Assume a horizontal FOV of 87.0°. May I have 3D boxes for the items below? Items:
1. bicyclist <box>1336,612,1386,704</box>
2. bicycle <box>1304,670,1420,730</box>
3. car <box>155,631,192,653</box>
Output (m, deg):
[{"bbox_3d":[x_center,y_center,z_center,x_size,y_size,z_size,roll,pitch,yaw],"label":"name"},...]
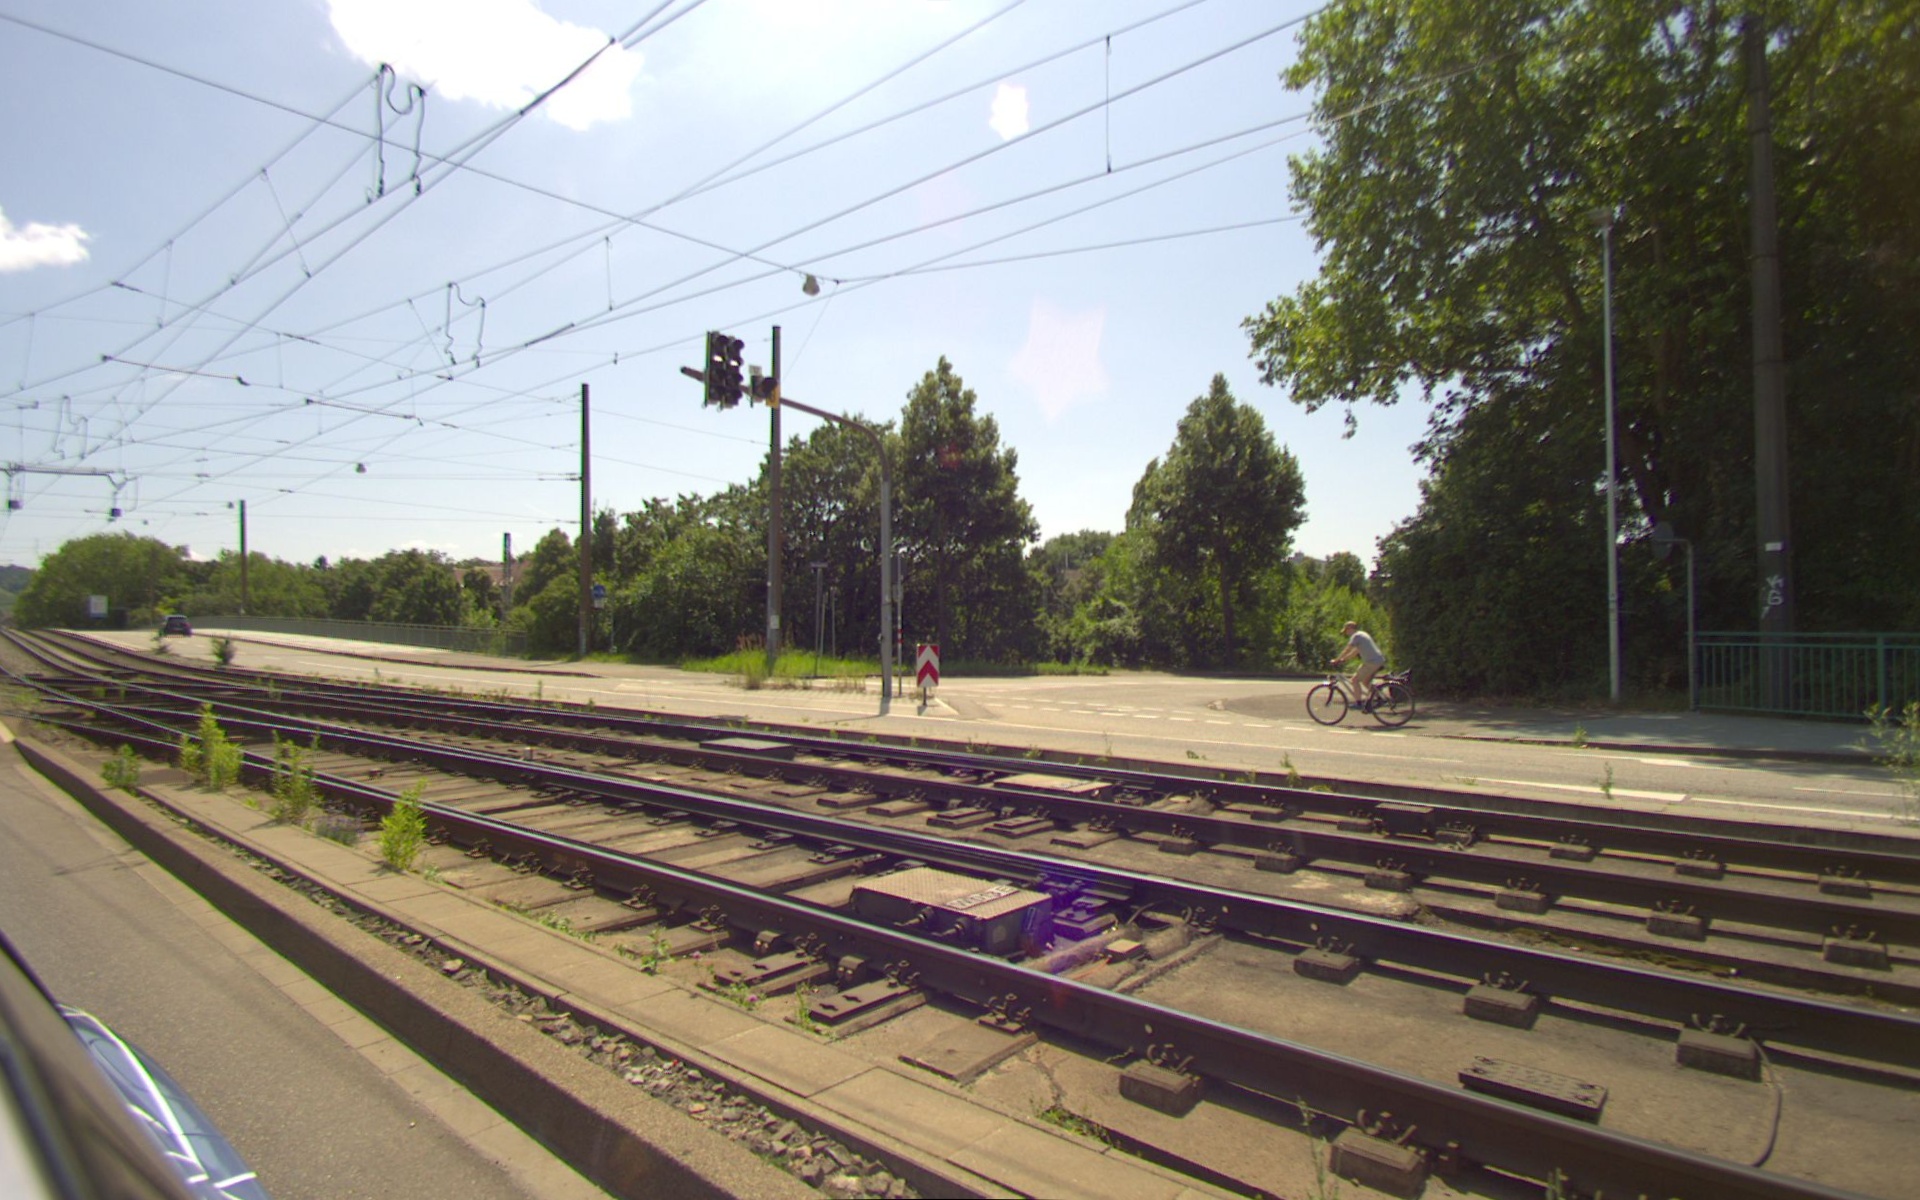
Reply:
[{"bbox_3d":[6.658,0.949,16.799,0.633,1.485,0.451,-1,-1,44],"label":"bicyclist"},{"bbox_3d":[6.649,1.639,16.816,1.743,0.875,0.463,-1,-1,44],"label":"bicycle"},{"bbox_3d":[-56.962,3.010,73.280,1.685,1.521,3.736,1,-1,-44],"label":"car"}]
